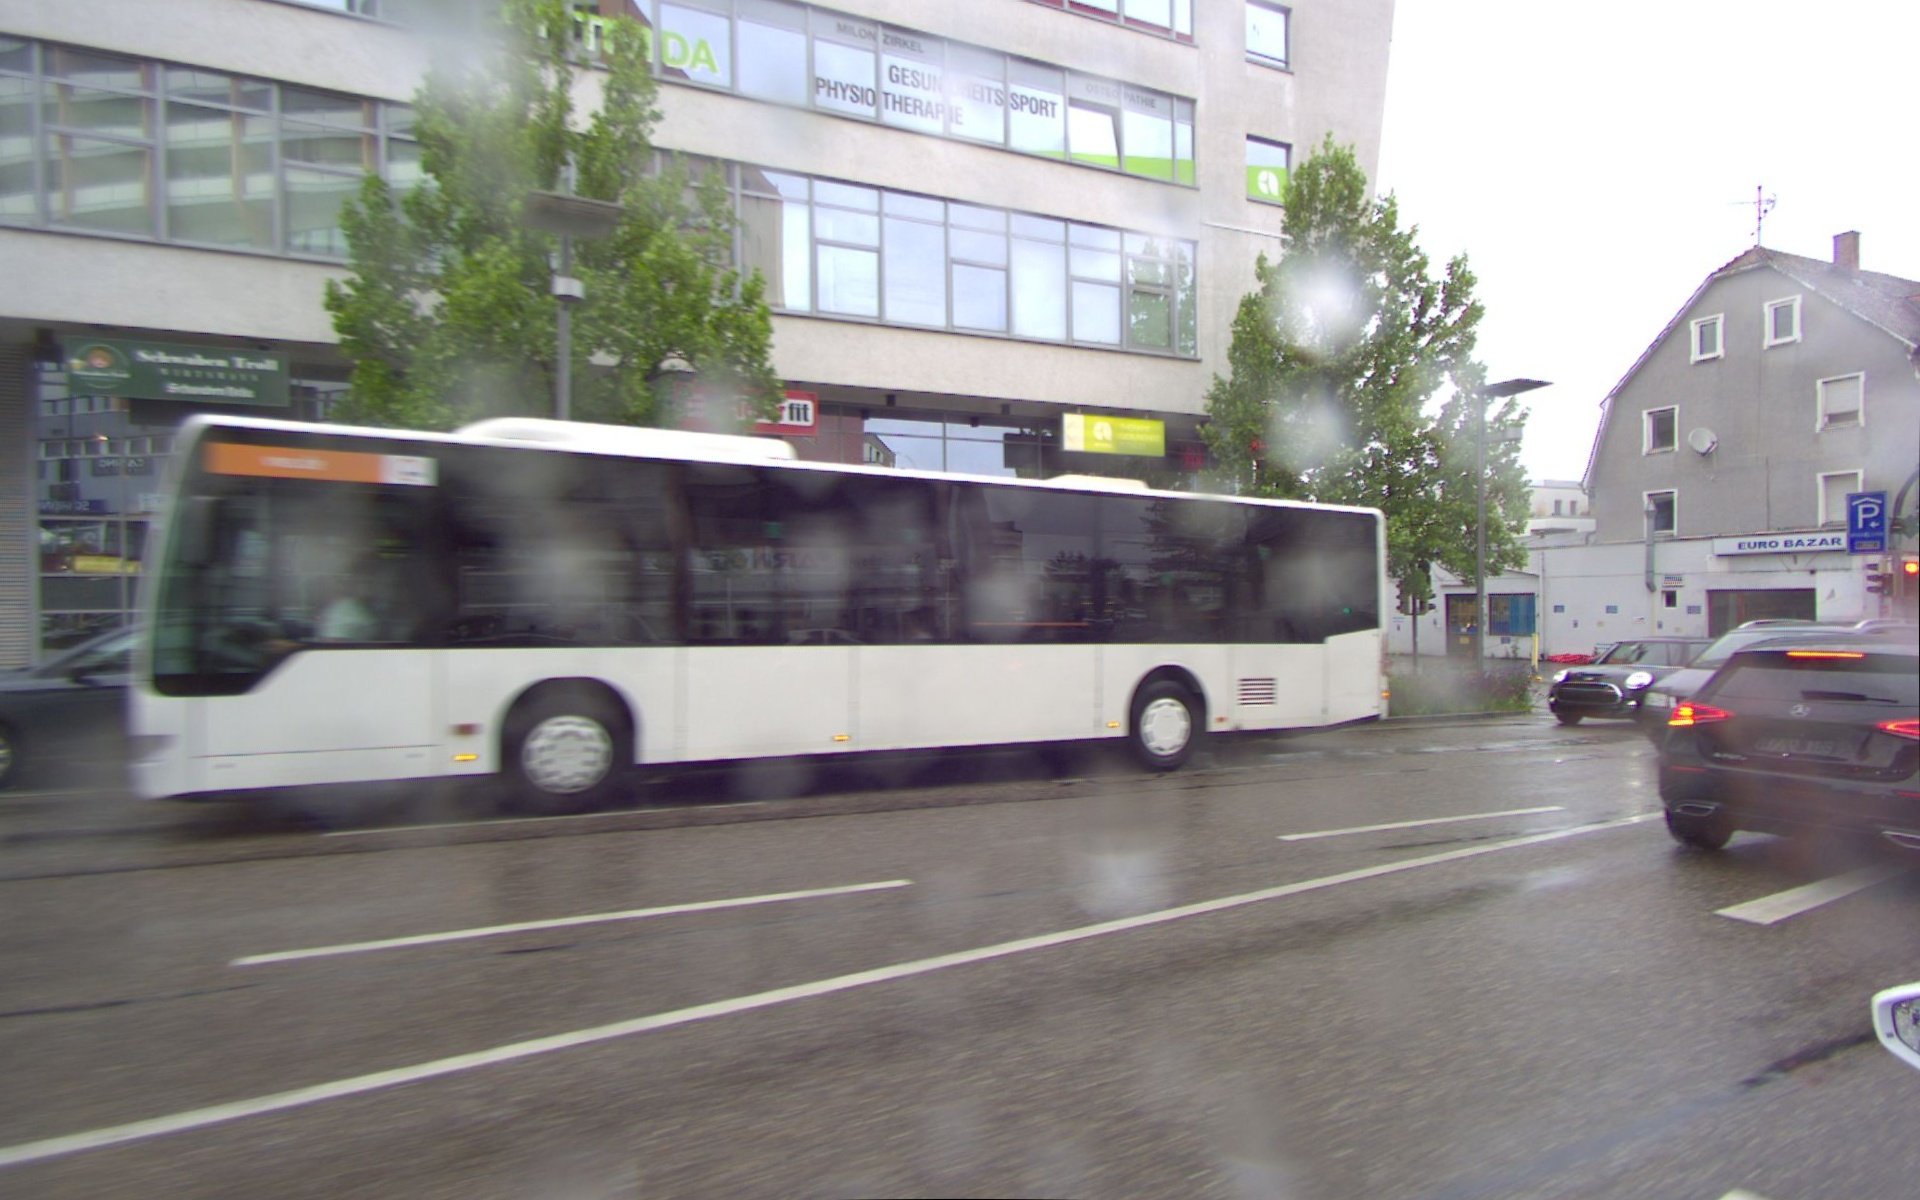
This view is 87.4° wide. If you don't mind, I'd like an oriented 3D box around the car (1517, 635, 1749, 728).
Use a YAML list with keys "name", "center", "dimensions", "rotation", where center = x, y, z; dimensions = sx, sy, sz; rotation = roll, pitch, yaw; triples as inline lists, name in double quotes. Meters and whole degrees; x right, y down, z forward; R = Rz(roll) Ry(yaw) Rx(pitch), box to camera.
- name: "car"
  center: [11.044, 1.288, 16.476]
  dimensions: [3.553, 1.355, 1.635]
  rotation: [2, -2, -26]

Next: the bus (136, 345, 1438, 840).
- name: "bus"
  center: [-0.451, 0.128, 10.259]
  dimensions: [11.839, 3.140, 2.883]
  rotation: [2, -2, -26]

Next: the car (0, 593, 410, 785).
- name: "car"
  center: [-7.688, 0.796, 9.814]
  dimensions: [3.949, 1.617, 1.986]
  rotation: [2, -2, -27]

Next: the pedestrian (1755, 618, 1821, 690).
- name: "pedestrian"
  center: [21.463, 1.380, 26.041]
  dimensions: [1.218, 1.812, 0.922]
  rotation: [2, -1, -27]

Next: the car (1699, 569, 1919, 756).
- name: "car"
  center: [11.420, 0.752, 12.592]
  dimensions: [4.225, 2.040, 1.629]
  rotation: [2, -2, -24]

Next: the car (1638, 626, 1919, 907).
- name: "car"
  center: [6.558, 0.948, 6.822]
  dimensions: [4.151, 1.469, 1.706]
  rotation: [2, -2, -32]
